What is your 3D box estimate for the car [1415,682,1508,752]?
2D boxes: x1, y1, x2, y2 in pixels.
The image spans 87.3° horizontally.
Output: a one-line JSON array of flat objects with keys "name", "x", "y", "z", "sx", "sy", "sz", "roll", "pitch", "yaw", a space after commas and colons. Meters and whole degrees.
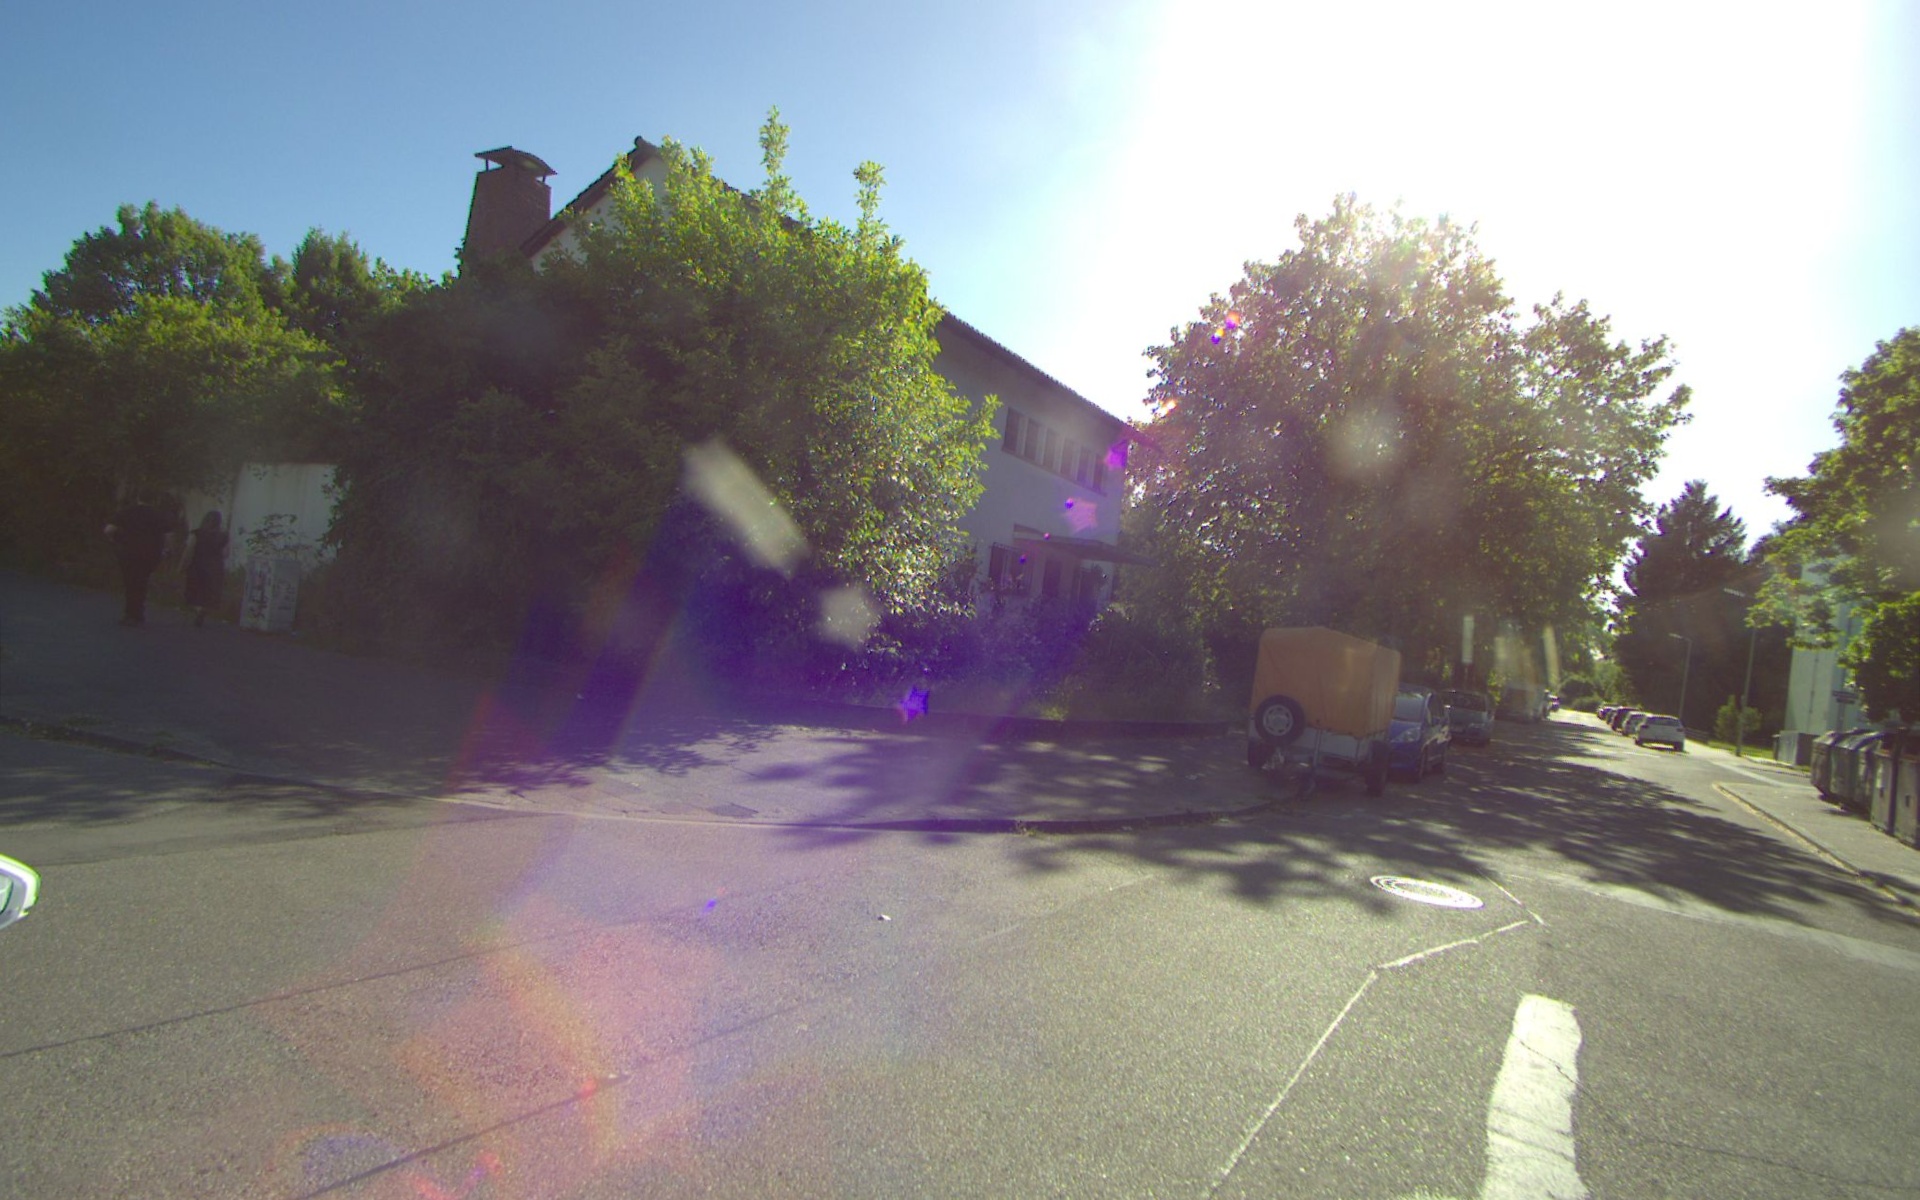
[{"name": "car", "x": 14.805, "y": 3.420, "z": 29.600, "sx": 1.844, "sy": 1.670, "sz": 3.992, "roll": 7, "pitch": -1, "yaw": 33}]

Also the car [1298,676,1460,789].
[{"name": "car", "x": 7.446, "y": 2.250, "z": 17.660, "sx": 1.859, "sy": 1.529, "sz": 3.922, "roll": 5, "pitch": -2, "yaw": 33}]

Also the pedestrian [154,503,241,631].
[{"name": "pedestrian", "x": -10.202, "y": -0.438, "z": 13.466, "sx": 0.779, "sy": 1.629, "sz": 0.573, "roll": 5, "pitch": 1, "yaw": 29}]

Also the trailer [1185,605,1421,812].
[{"name": "trailer", "x": 4.782, "y": 1.399, "z": 13.614, "sx": 1.945, "sy": 2.145, "sz": 4.067, "roll": 8, "pitch": 0, "yaw": 32}]

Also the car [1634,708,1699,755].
[{"name": "car", "x": 31.136, "y": 5.759, "z": 44.435, "sx": 2.033, "sy": 1.670, "sz": 3.992, "roll": 7, "pitch": -1, "yaw": 33}]

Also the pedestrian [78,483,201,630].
[{"name": "pedestrian", "x": -10.386, "y": -0.543, "z": 12.742, "sx": 0.967, "sy": 1.738, "sz": 0.805, "roll": 5, "pitch": 0, "yaw": 29}]
